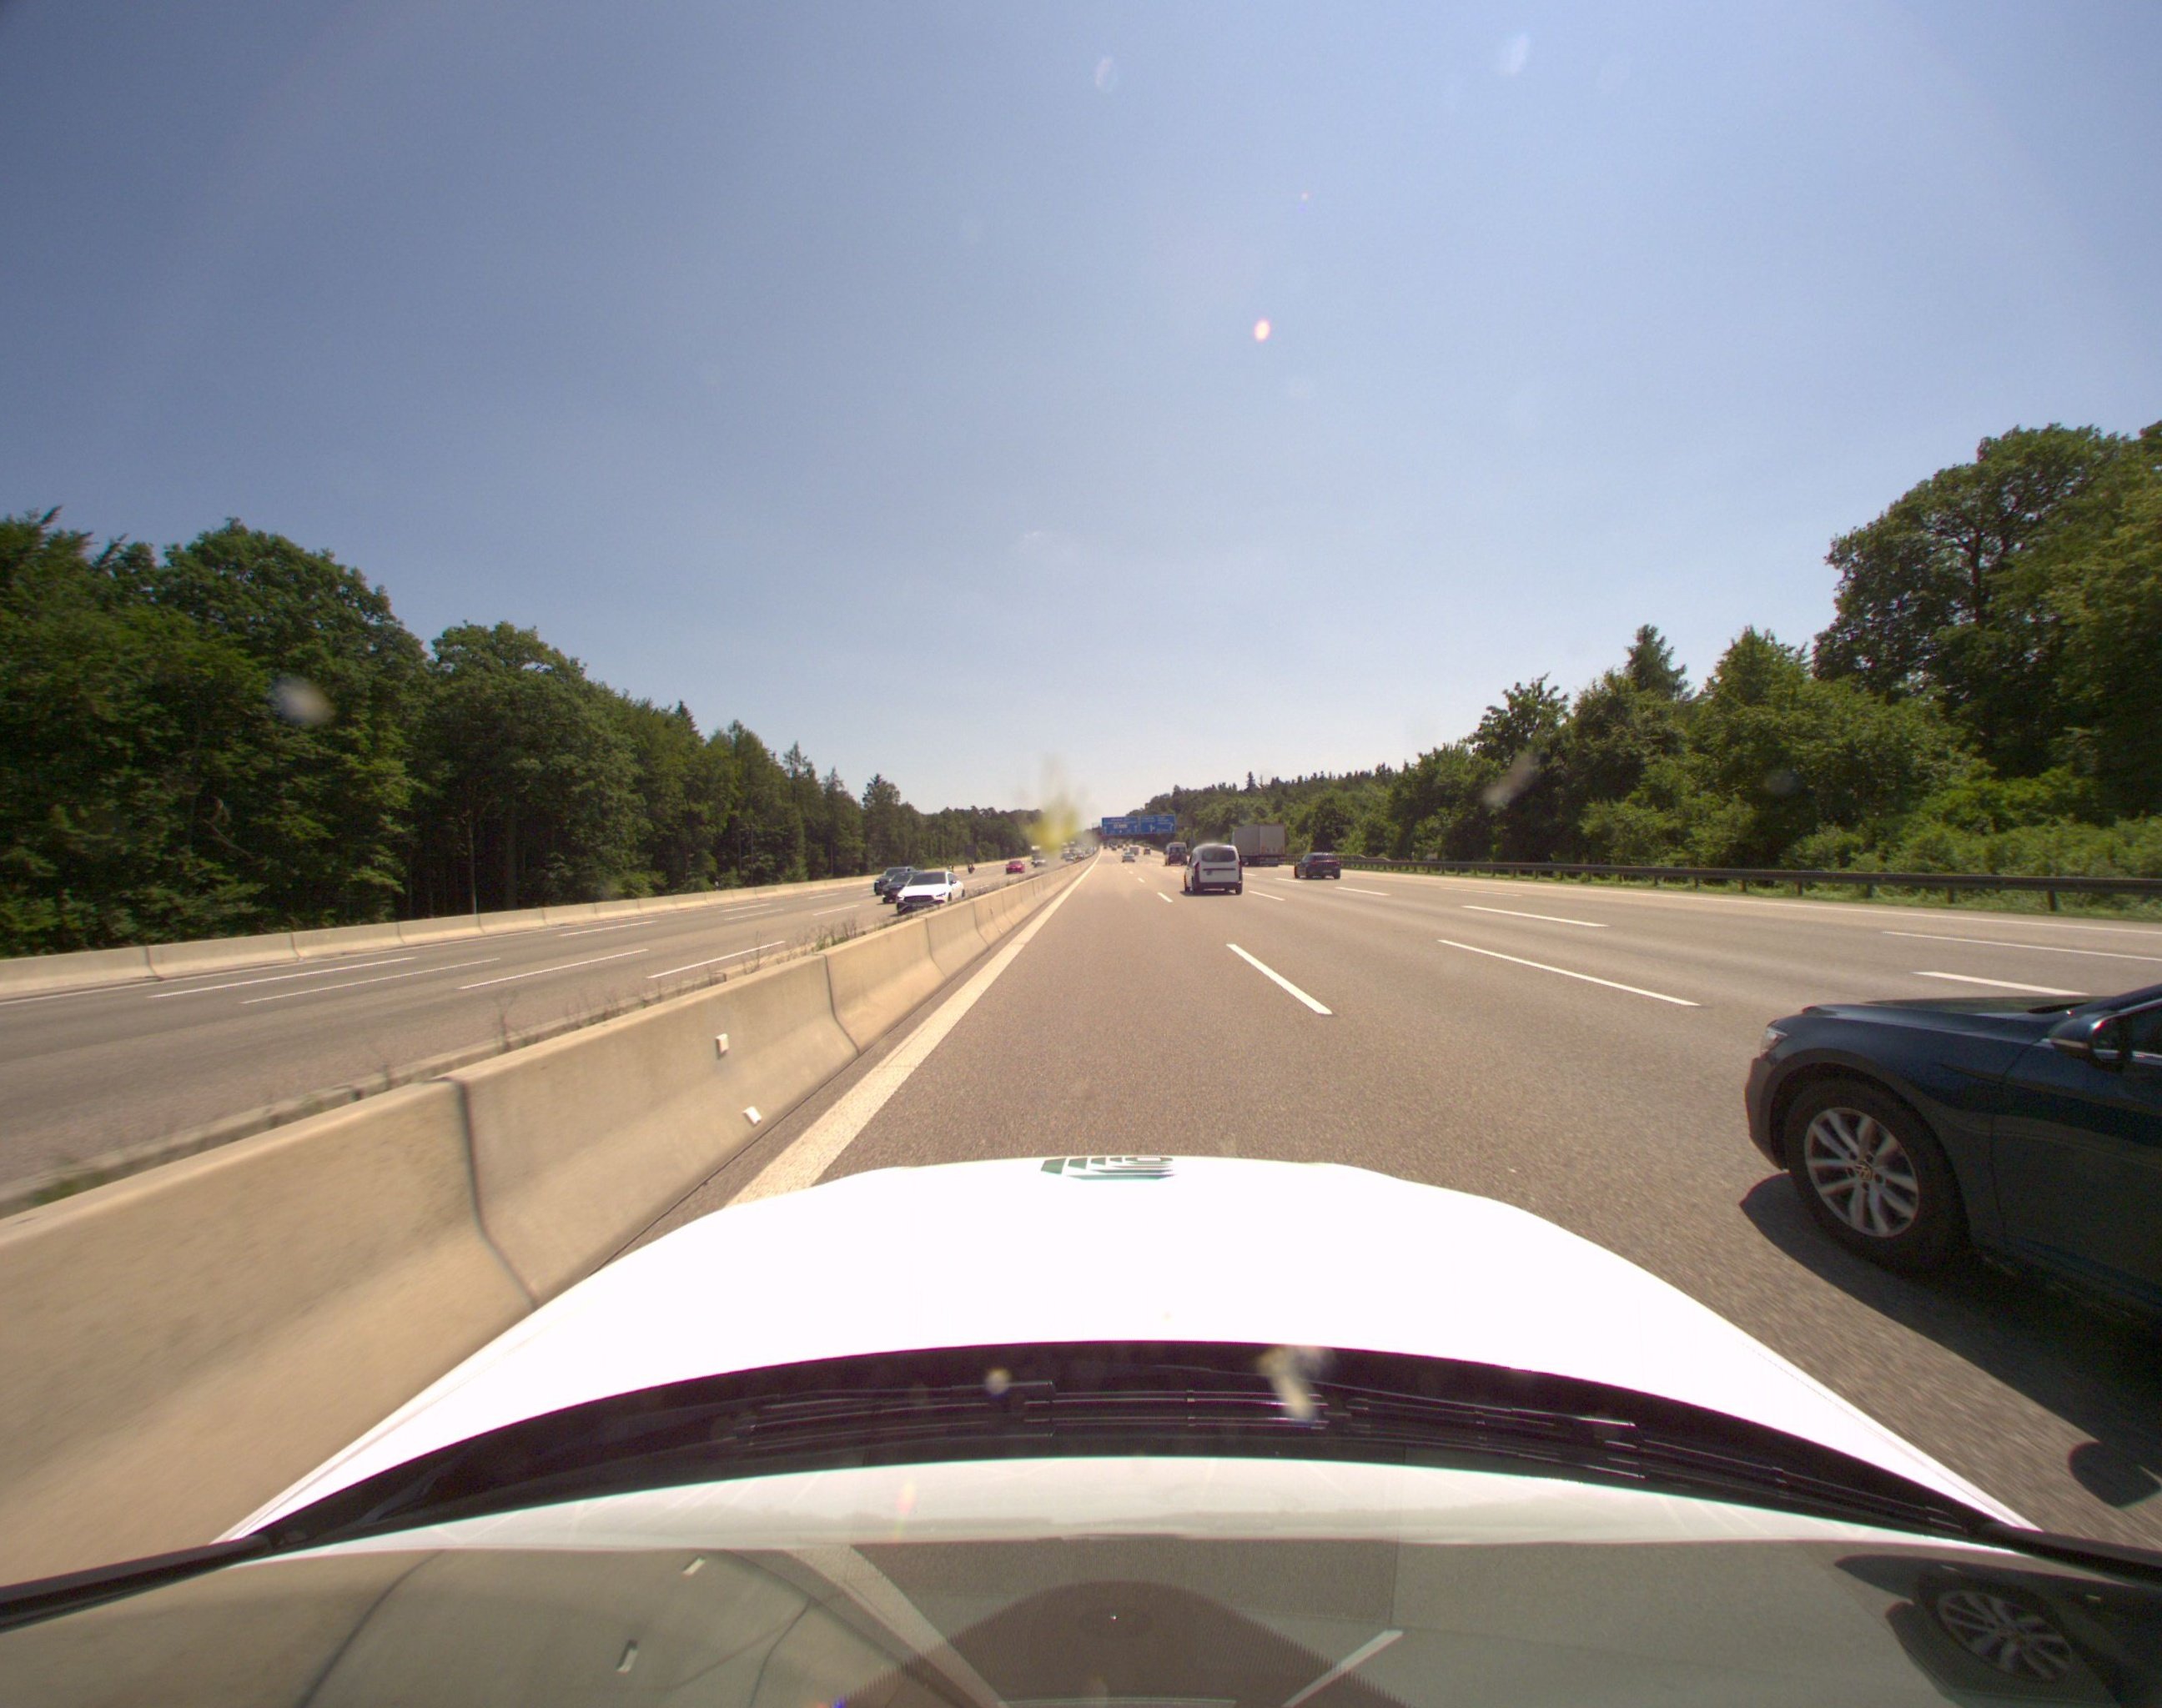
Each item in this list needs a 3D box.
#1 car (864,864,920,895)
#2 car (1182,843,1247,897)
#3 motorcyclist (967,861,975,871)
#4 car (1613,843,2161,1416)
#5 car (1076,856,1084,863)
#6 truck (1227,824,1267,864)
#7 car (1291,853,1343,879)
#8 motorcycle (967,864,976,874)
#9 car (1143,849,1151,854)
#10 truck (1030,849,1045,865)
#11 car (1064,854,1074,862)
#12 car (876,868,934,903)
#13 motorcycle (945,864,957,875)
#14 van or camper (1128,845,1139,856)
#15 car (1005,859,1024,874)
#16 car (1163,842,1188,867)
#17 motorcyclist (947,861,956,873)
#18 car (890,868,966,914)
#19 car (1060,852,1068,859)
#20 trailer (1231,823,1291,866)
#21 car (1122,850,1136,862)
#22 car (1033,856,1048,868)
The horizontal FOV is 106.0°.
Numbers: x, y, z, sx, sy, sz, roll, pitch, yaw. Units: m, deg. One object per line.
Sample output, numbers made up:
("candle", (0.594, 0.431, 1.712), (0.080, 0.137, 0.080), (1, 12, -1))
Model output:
("car", (-11.733, 1.541, 51.033), (2.039, 1.674, 5.191), (-3, 0, 2))
("car", (5.014, 0.561, 31.117), (1.852, 1.826, 4.616), (-3, 0, 3))
("motorcyclist", (-14.224, 1.566, 105.486), (0.758, 1.301, 1.078), (-3, 0, 2))
("car", (3.617, 0.702, 1.854), (1.723, 1.447, 4.964), (-1, 0, 2))
("car", (-0.191, 1.157, 176.641), (1.746, 1.377, 4.493), (-1, 0, 2))
("truck", (18.029, -1.100, 88.948), (3.242, 4.106, 5.990), (-1, 1, 1))
("car", (12.691, 0.675, 44.080), (1.664, 1.274, 4.291), (-2, -1, 2))
("motorcycle", (-14.206, 1.897, 105.578), (0.735, 1.214, 2.350), (-3, 0, 2))
("car", (17.860, -0.605, 219.869), (1.829, 1.338, 3.644), (-3, 0, 1))
("truck", (-11.025, 0.744, 208.499), (2.709, 3.939, 10.240), (-3, 0, 2))
("car", (-2.385, 0.858, 163.116), (1.711, 1.512, 4.353), (-3, 0, 2))
("car", (-8.365, 1.474, 39.090), (1.696, 1.427, 4.613), (-3, 0, 0))
("motorcycle", (-14.847, 1.787, 93.316), (0.775, 1.141, 2.757), (-3, 0, 2))
("van or camper", (13.865, -0.893, 215.580), (2.635, 2.539, 6.504), (-3, 0, 2))
("car", (-7.297, 1.407, 90.196), (1.566, 1.511, 4.031), (-3, 0, 2))
("car", (10.503, 0.061, 91.002), (2.135, 2.652, 5.712), (-3, 0, 2))
("motorcyclist", (-14.869, 1.456, 93.306), (0.766, 1.301, 1.078), (-3, -1, 2))
("car", (-5.431, 1.266, 29.447), (1.818, 1.394, 4.464), (-3, 0, 0))
("car", (-4.378, 0.369, 207.302), (1.711, 1.449, 4.909), (-1, 1, 1))
("trailer", (17.915, -0.918, 82.143), (3.276, 3.930, 13.894), (-1, 1, 1))
("car", (7.111, 0.283, 120.518), (1.836, 1.629, 4.554), (-3, 0, 1))
("car", (-5.966, 1.124, 121.760), (1.964, 1.724, 4.509), (0, 0, 0))
